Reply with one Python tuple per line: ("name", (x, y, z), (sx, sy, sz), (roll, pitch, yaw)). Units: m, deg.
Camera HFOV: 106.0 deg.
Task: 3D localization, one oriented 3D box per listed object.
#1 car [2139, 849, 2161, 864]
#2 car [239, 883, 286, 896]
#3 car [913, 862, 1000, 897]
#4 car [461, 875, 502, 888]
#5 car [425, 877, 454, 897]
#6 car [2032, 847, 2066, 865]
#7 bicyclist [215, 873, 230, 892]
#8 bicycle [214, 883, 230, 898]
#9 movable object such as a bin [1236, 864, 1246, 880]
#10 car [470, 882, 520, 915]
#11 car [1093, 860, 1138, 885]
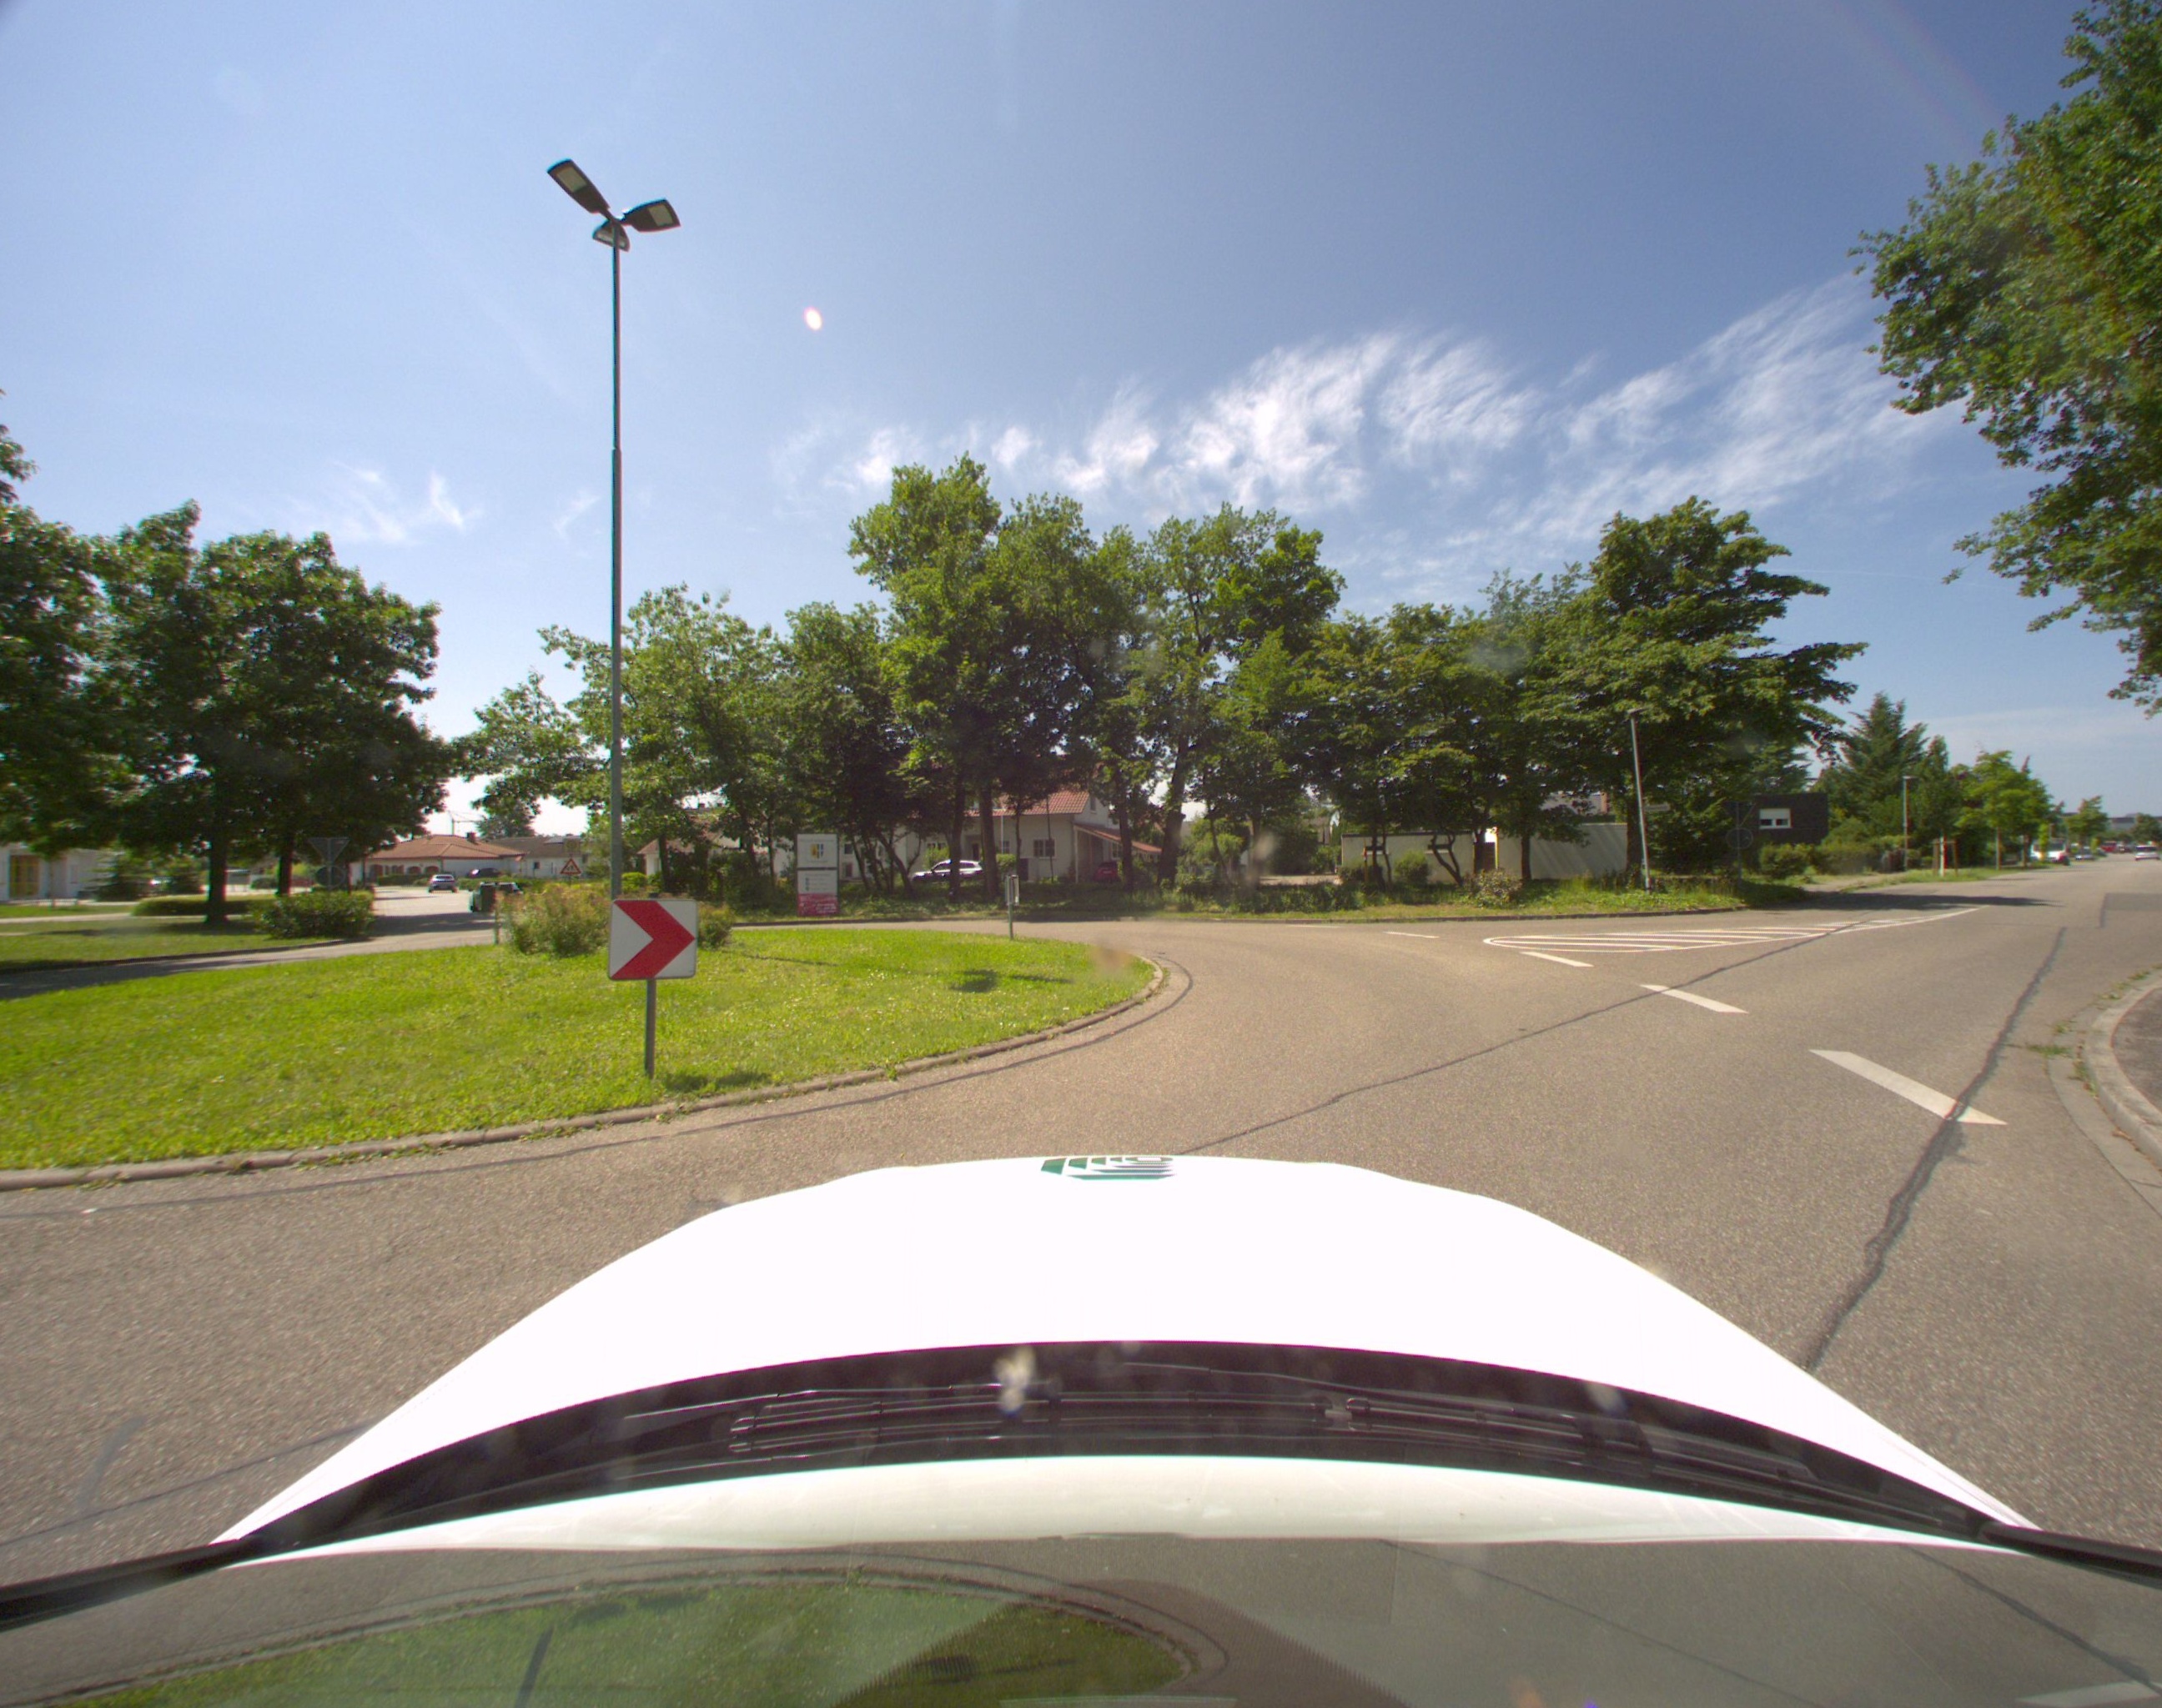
("car", (126.785, 0.312, 96.373), (4.018, 1.661, 1.821), (1, -3, -37))
("car", (-90.028, 3.884, 89.571), (3.955, 1.288, 2.009), (-1, -1, 18))
("car", (-6.502, 1.340, 42.546), (4.099, 1.705, 1.673), (-1, -1, 15))
("car", (-71.160, 3.256, 96.752), (1.839, 1.542, 3.842), (-1, -1, 6))
("car", (-51.405, 2.588, 65.224), (1.642, 1.486, 3.952), (-1, 0, -41))
("car", (85.346, 0.177, 71.845), (3.816, 1.480, 1.737), (2, -3, -43))
("bicyclist", (-55.277, 1.839, 52.417), (0.602, 1.164, 0.641), (0, -1, -42))
("bicycle", (-55.197, 2.346, 52.332), (0.602, 0.929, 1.600), (0, -1, -42))
("movable object such as a bin", (11.510, 1.279, 58.746), (0.652, 1.112, 0.459), (-2, -1, 15))
("car", (-25.118, 1.884, 34.981), (1.626, 1.288, 3.519), (0, -1, -34))
("car", (2.093, 1.091, 48.140), (1.665, 1.385, 3.711), (-1, -1, 19))
